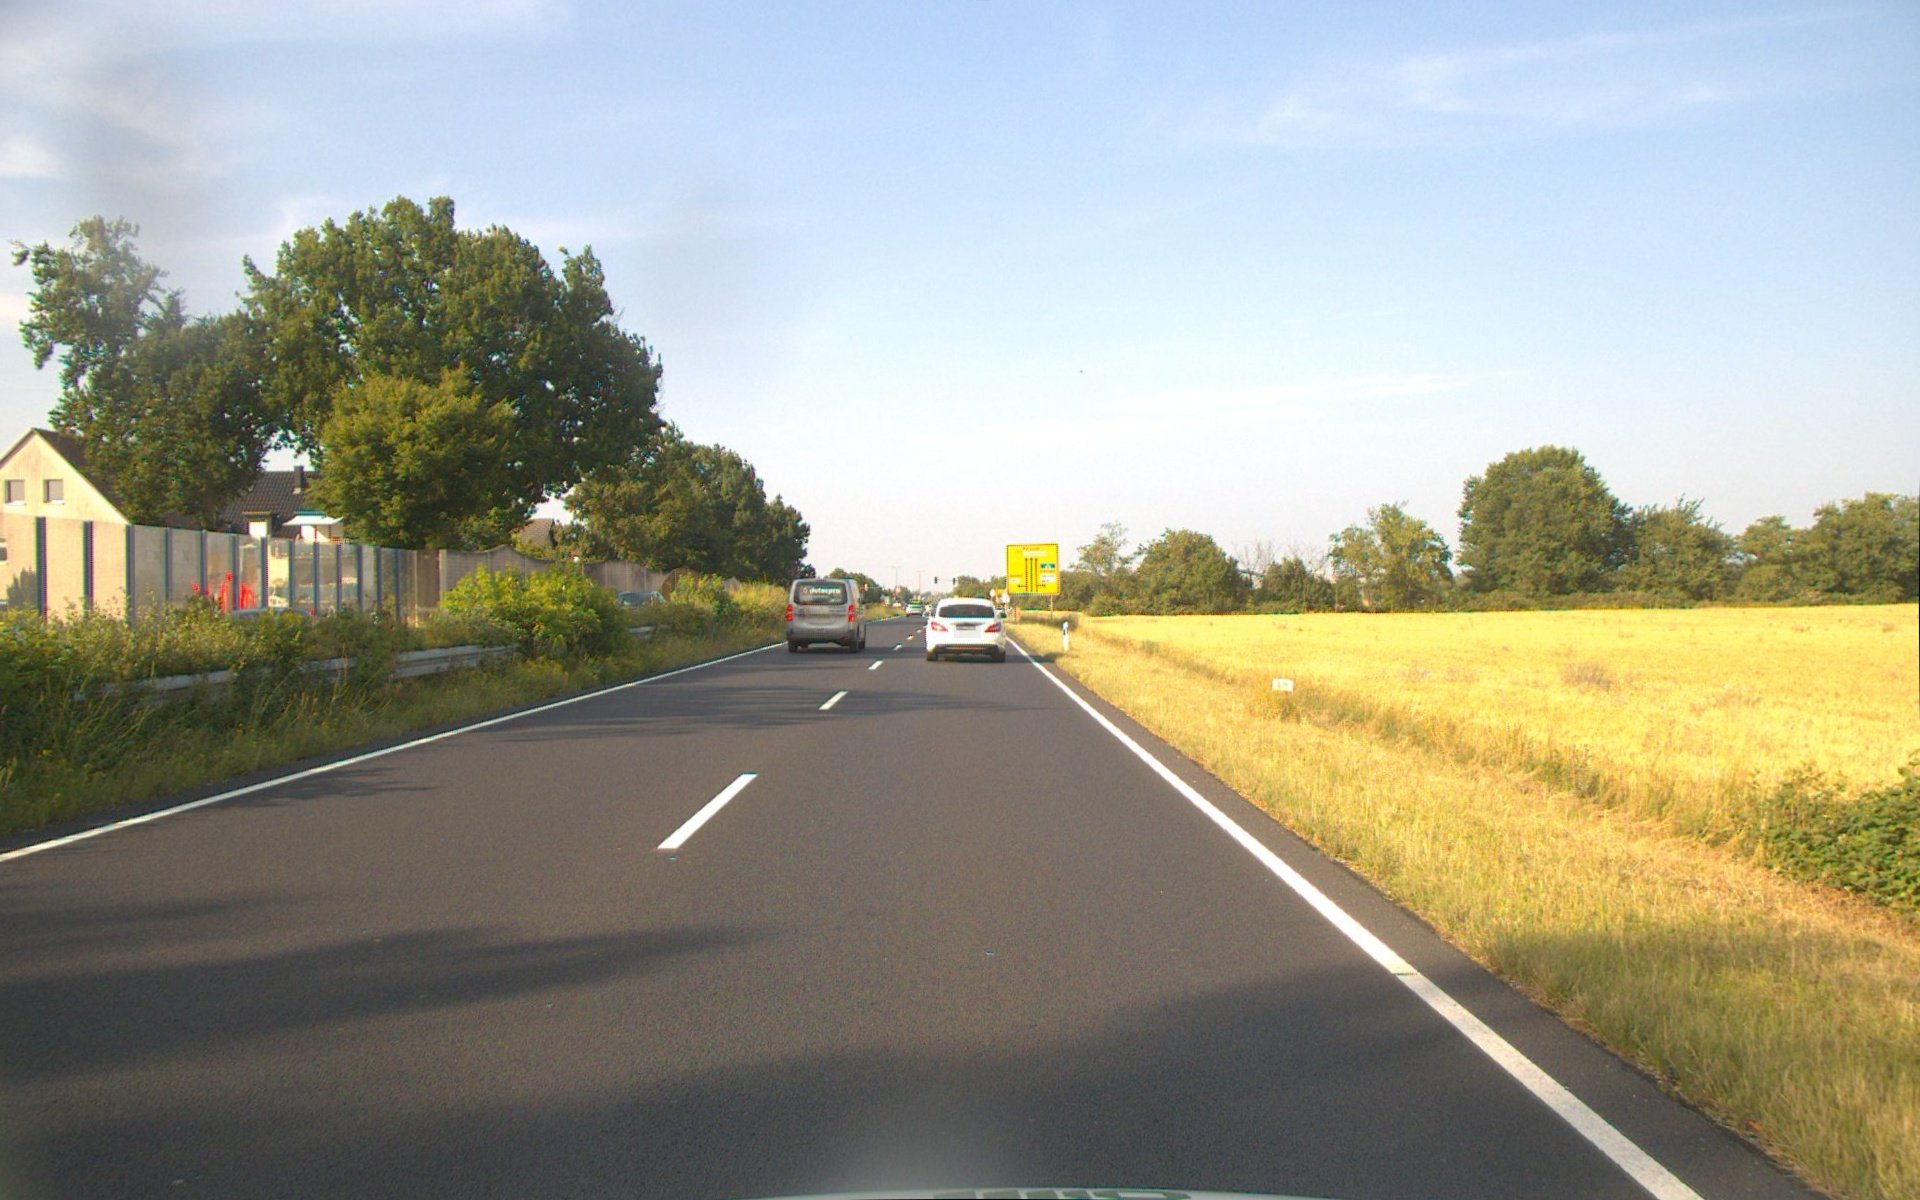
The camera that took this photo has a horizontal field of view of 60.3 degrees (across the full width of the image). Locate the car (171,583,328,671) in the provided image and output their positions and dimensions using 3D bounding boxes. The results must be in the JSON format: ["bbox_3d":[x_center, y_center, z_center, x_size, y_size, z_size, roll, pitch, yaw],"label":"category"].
[{"bbox_3d":[-14.561,0.536,34.090,1.770,1.691,3.335,1,0,-1],"label":"car"}]

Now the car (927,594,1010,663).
[{"bbox_3d":[0.175,0.650,38.969,1.856,1.535,3.999,0,0,-1],"label":"car"}]

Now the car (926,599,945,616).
[{"bbox_3d":[-2.499,0.786,169.189,1.839,1.680,3.662,1,0,-2],"label":"car"}]

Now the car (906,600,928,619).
[{"bbox_3d":[-3.628,0.802,140.364,1.682,1.518,3.584,1,0,0],"label":"car"}]

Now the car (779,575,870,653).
[{"bbox_3d":[-3.568,0.349,44.316,1.984,1.925,4.958,1,0,0],"label":"car"}]
